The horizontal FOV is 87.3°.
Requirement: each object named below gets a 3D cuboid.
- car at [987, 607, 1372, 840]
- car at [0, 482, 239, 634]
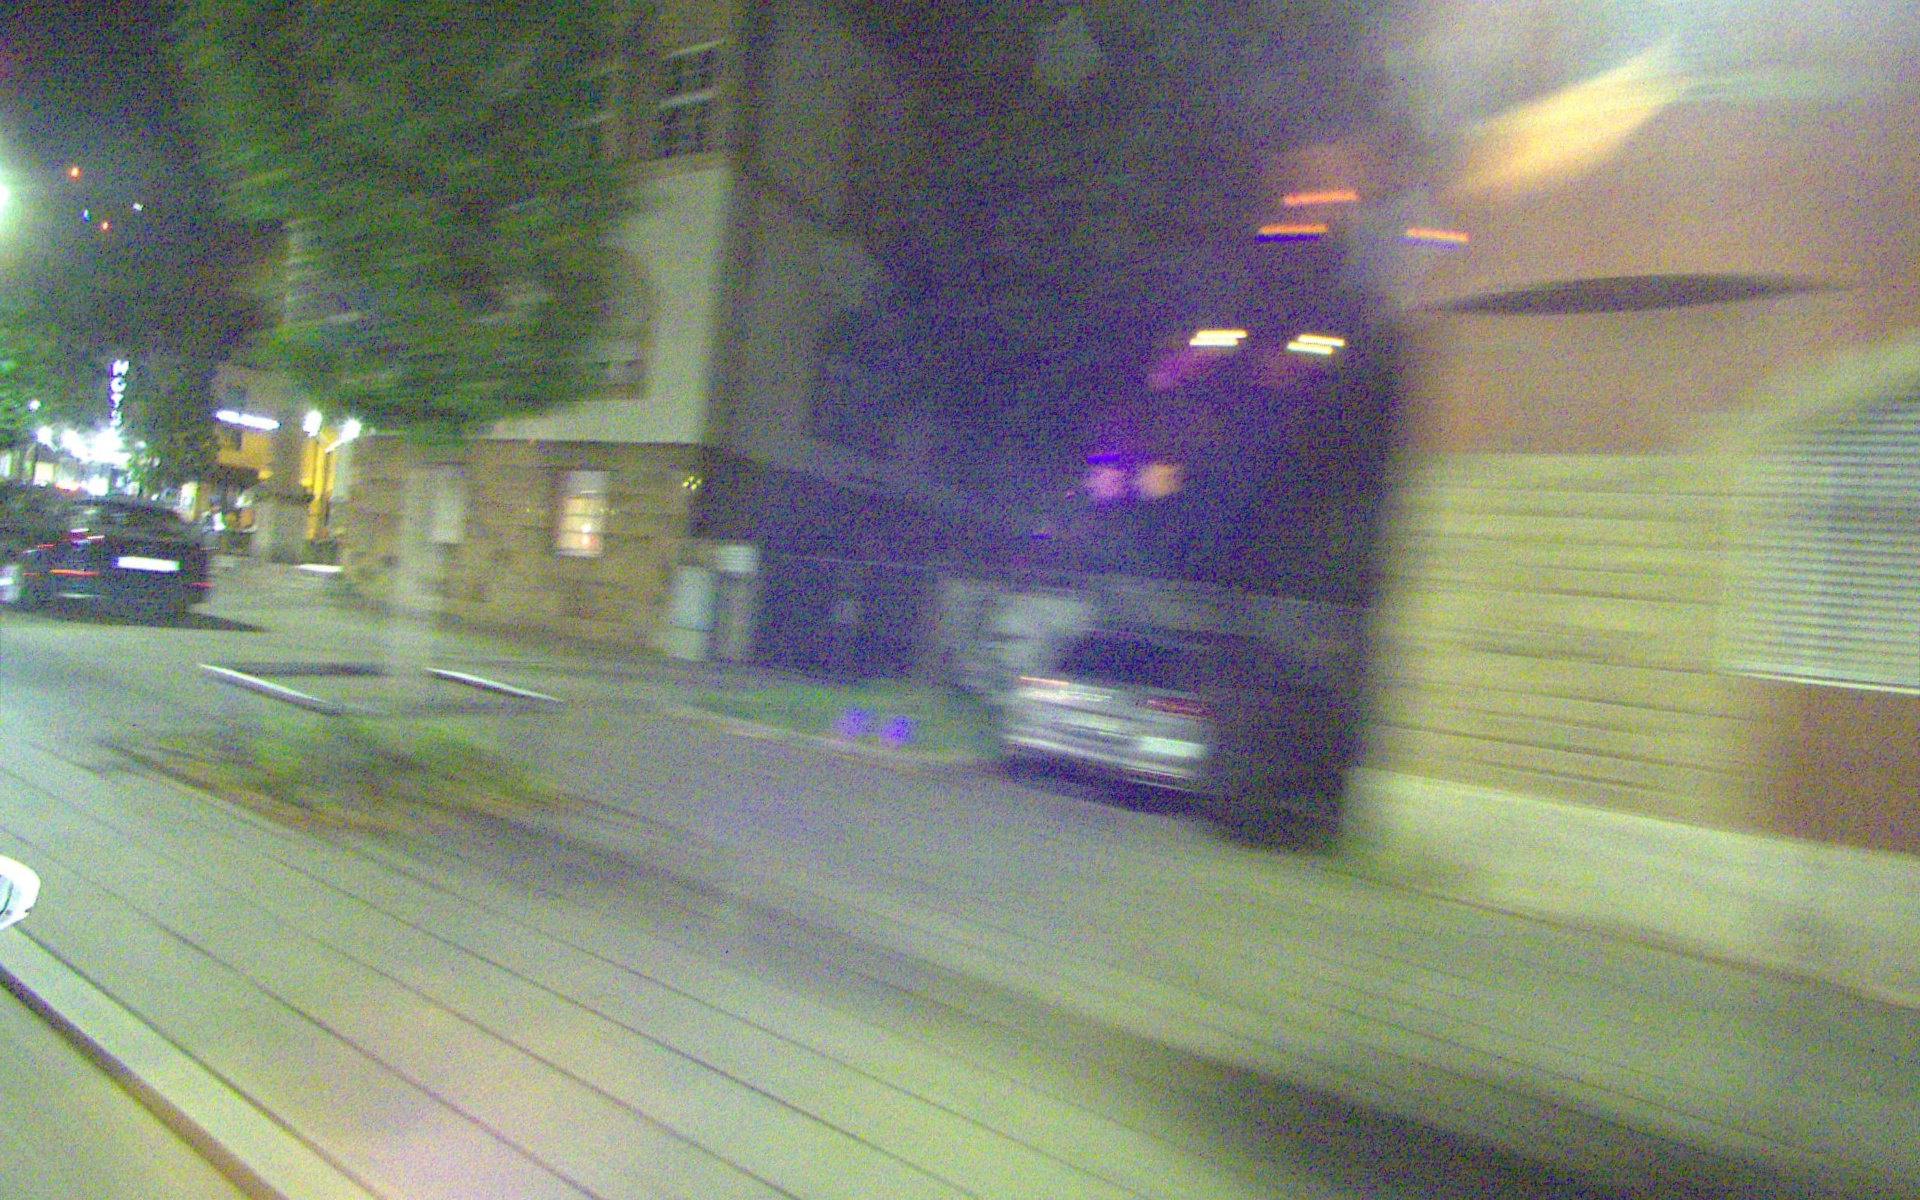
[{"bbox_3d":[2.296,1.028,9.427,1.761,1.478,4.426,8,1,36],"label":"car"},{"bbox_3d":[-11.244,-0.614,12.464,4.645,1.477,1.738,7,0,27],"label":"car"}]
